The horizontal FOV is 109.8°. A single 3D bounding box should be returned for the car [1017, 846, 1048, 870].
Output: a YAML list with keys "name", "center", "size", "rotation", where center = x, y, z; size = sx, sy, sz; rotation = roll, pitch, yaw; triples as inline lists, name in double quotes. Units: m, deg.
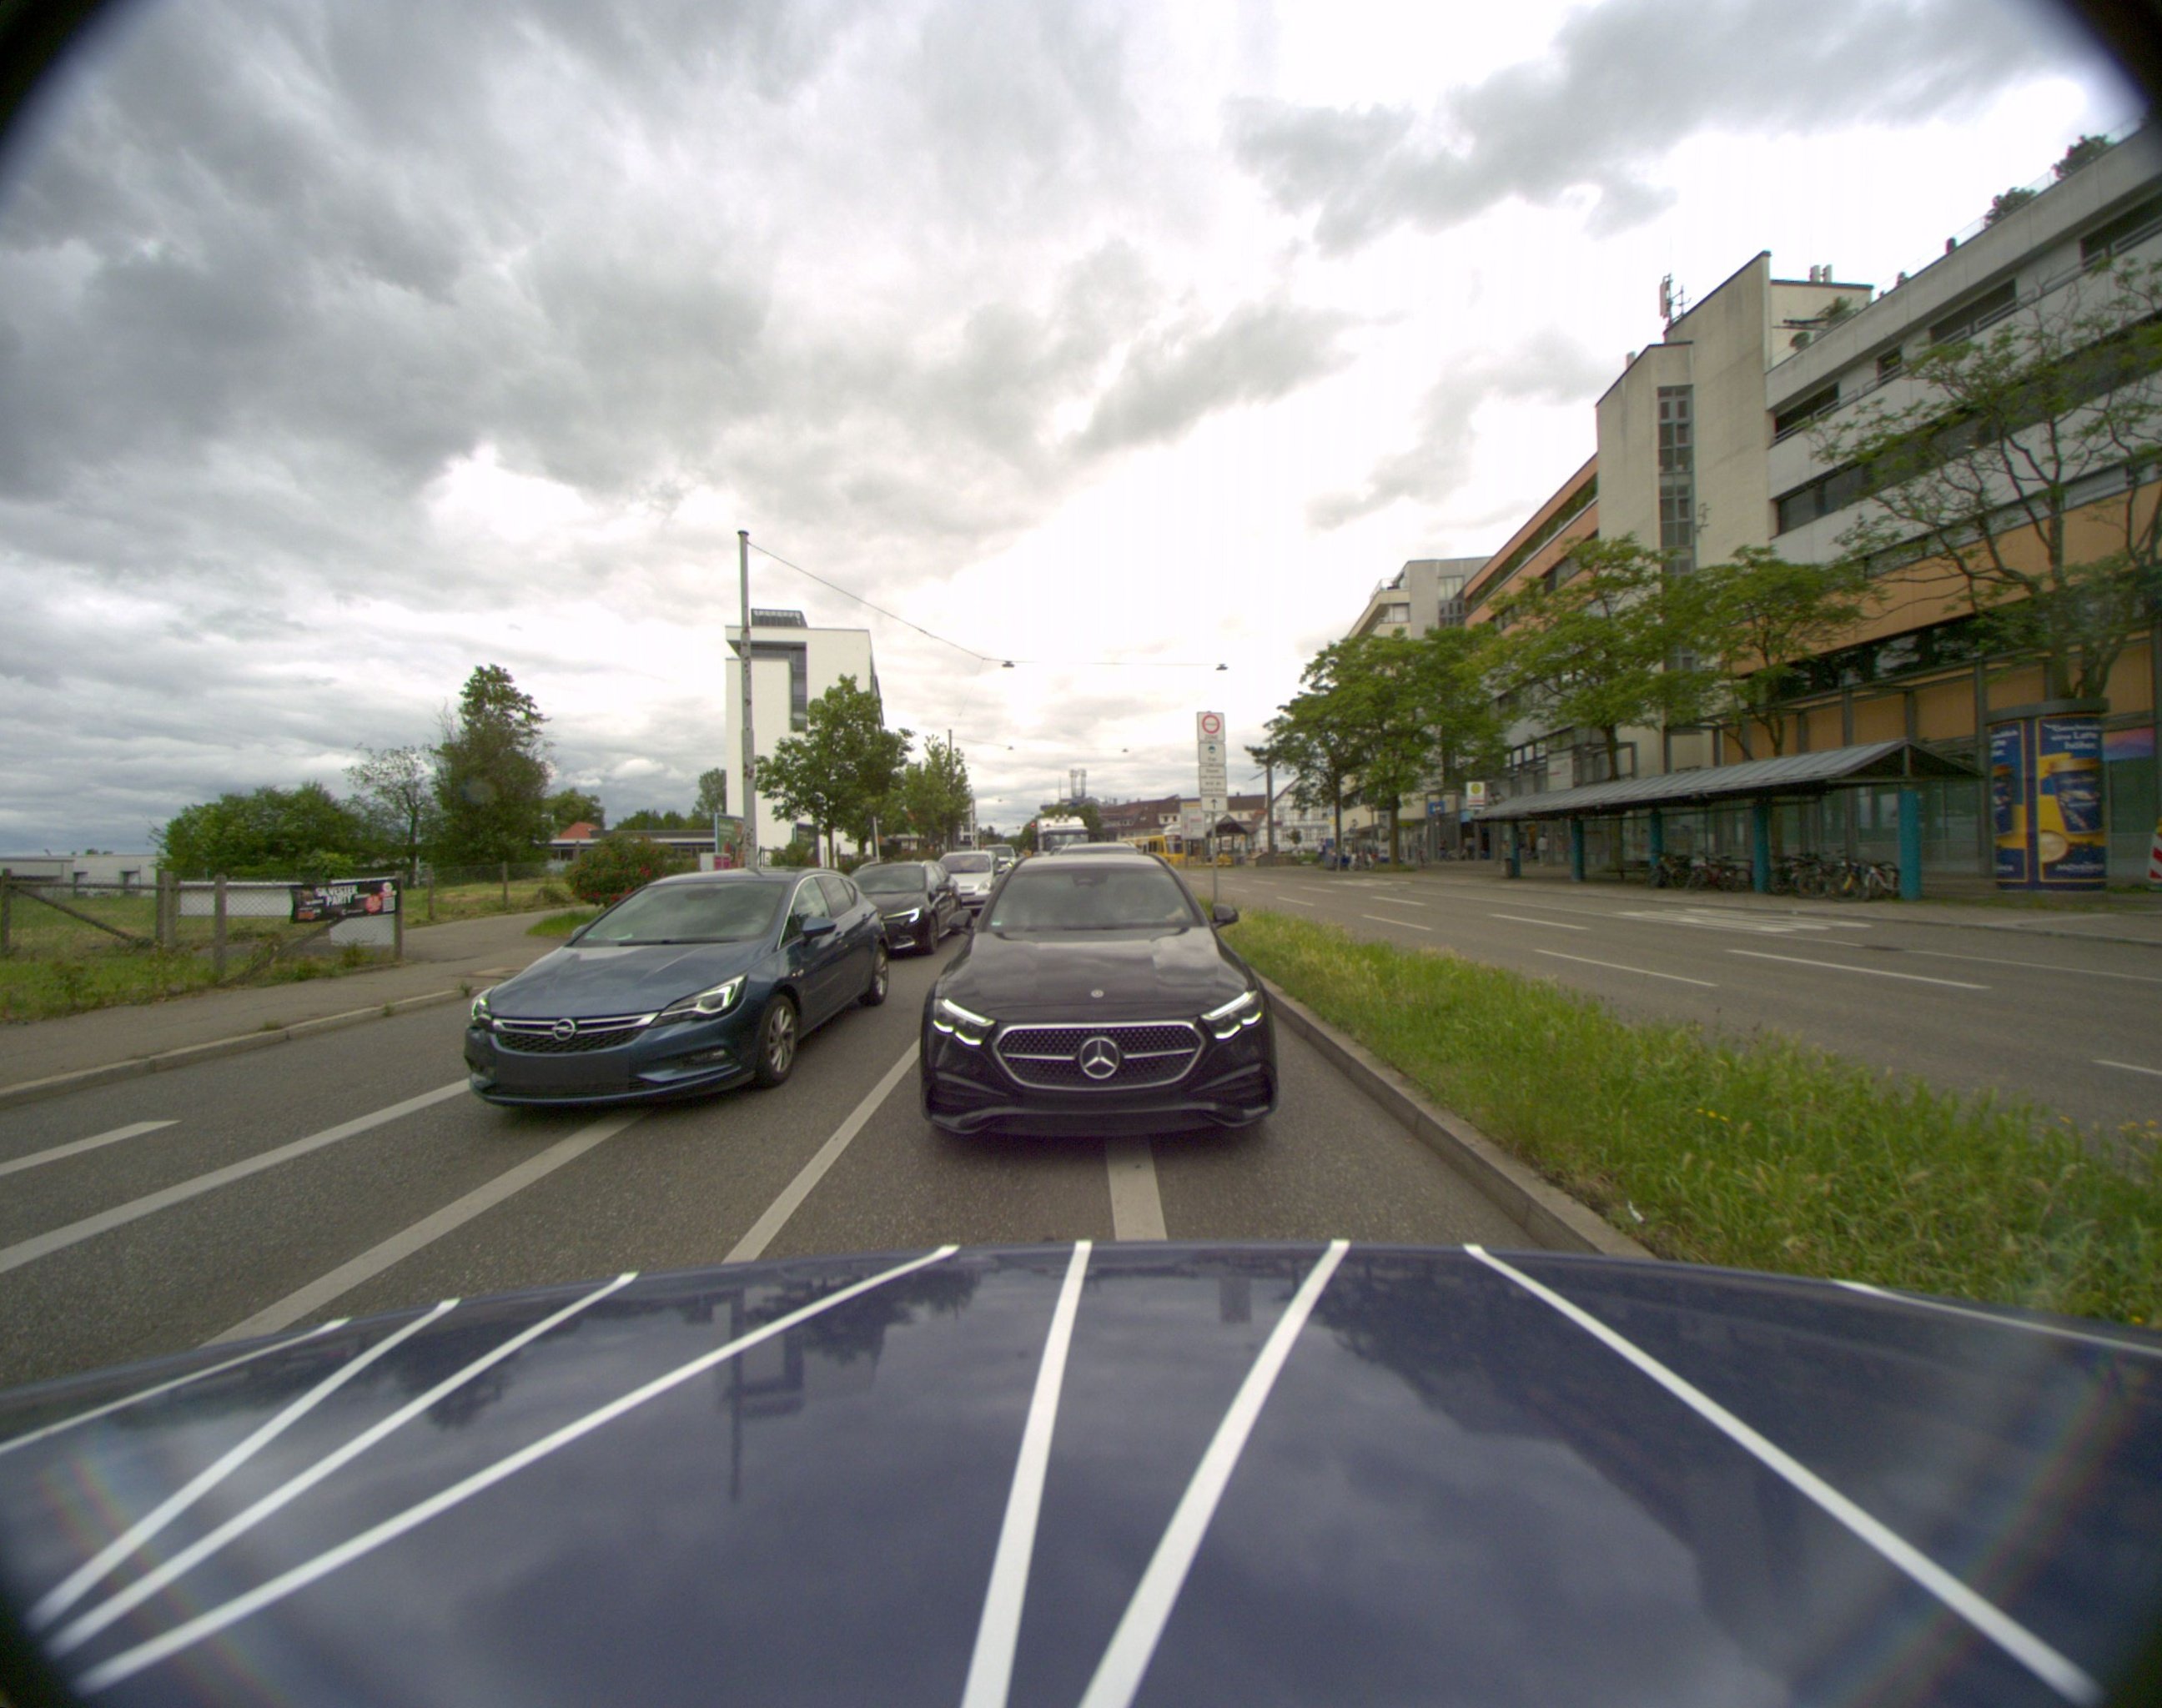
- name: "car"
  center: [-3.786, 0.250, 58.257]
  size: [2.000, 1.674, 3.997]
  rotation: [-4, 1, -8]

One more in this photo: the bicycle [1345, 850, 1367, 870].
- name: "bicycle"
  center: [15.452, 0.321, 42.640]
  size: [0.593, 1.071, 2.041]
  rotation: [0, 2, 38]

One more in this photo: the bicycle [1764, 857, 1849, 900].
- name: "bicycle"
  center: [19.015, 0.637, 19.938]
  size: [1.735, 1.035, 0.549]
  rotation: [-2, 1, -2]

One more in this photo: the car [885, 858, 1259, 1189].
- name: "car"
  center: [-0.052, 0.837, 5.807]
  size: [1.793, 1.507, 4.249]
  rotation: [-1, 1, -1]

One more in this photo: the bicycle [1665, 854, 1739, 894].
- name: "bicycle"
  center: [18.272, 0.584, 22.371]
  size: [1.735, 1.035, 0.549]
  rotation: [-4, 1, -2]

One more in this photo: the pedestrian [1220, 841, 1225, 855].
- name: "pedestrian"
  center: [20.261, -0.819, 108.908]
  size: [0.742, 2.002, 0.938]
  rotation: [-1, 1, 11]

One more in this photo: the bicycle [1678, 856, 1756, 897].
- name: "bicycle"
  center: [17.937, 0.638, 21.439]
  size: [1.735, 1.035, 0.549]
  rotation: [-3, 1, -2]

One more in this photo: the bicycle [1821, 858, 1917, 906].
- name: "bicycle"
  center: [18.676, 0.662, 18.027]
  size: [1.735, 1.035, 0.549]
  rotation: [-2, 1, -2]

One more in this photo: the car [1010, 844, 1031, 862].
- name: "car"
  center: [-6.555, -0.122, 81.866]
  size: [2.000, 1.674, 3.997]
  rotation: [-4, 1, -8]

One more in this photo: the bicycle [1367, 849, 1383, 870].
- name: "bicycle"
  center: [16.375, 0.293, 42.269]
  size: [0.593, 1.071, 2.040]
  rotation: [0, 2, 29]

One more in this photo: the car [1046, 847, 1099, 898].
- name: "car"
  center: [-0.382, 0.631, 28.961]
  size: [1.865, 1.773, 3.998]
  rotation: [-1, 1, -2]

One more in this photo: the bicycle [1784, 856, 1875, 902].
- name: "bicycle"
  center: [18.617, 0.622, 18.913]
  size: [1.735, 1.035, 0.549]
  rotation: [-3, 1, -2]

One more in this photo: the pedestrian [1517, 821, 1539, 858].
- name: "pedestrian"
  center: [25.024, -0.805, 42.564]
  size: [0.710, 2.002, 0.794]
  rotation: [-2, 2, 0]

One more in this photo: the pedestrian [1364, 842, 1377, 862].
- name: "pedestrian"
  center: [24.493, -0.164, 64.311]
  size: [0.765, 1.673, 0.752]
  rotation: [-1, 1, 1]

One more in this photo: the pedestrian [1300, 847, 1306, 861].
- name: "pedestrian"
  center: [23.736, -0.019, 81.208]
  size: [0.555, 1.486, 0.454]
  rotation: [0, 1, 8]

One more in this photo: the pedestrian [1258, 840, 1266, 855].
- name: "pedestrian"
  center: [23.836, -0.885, 99.966]
  size: [0.879, 2.002, 1.010]
  rotation: [0, 1, 6]

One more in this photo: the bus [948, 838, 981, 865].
- name: "bus"
  center: [-12.874, -0.328, 83.320]
  size: [2.969, 2.616, 12.136]
  rotation: [-2, 1, -11]

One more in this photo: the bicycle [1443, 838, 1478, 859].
- name: "bicycle"
  center: [26.959, -0.382, 54.025]
  size: [2.139, 1.367, 0.620]
  rotation: [-2, 2, 18]

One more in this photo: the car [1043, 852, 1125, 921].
- name: "car"
  center: [0.035, 0.748, 19.525]
  size: [1.865, 1.520, 3.999]
  rotation: [-1, 1, -1]

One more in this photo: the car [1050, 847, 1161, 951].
- name: "car"
  center: [0.387, 0.704, 14.098]
  size: [1.734, 1.601, 3.999]
  rotation: [-1, 1, 0]

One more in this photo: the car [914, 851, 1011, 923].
- name: "car"
  center: [-2.977, 0.773, 19.902]
  size: [1.851, 1.607, 3.782]
  rotation: [-3, 1, 0]

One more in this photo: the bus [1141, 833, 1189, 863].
- name: "bus"
  center: [8.645, -0.651, 79.622]
  size: [2.556, 2.966, 8.497]
  rotation: [-1, 1, -11]

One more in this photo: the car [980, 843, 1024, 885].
- name: "car"
  center: [-3.880, 0.442, 38.054]
  size: [1.852, 1.875, 4.135]
  rotation: [-3, 1, -2]

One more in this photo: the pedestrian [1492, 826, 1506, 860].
- name: "pedestrian"
  center: [25.181, -0.656, 45.748]
  size: [0.566, 2.002, 0.611]
  rotation: [-1, 1, 6]

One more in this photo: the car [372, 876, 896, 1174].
- name: "car"
  center: [-2.914, 0.995, 6.143]
  size: [1.826, 1.402, 3.999]
  rotation: [-2, 1, 0]

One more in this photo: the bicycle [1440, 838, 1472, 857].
- name: "bicycle"
  center: [27.720, -0.456, 56.177]
  size: [2.138, 1.359, 0.620]
  rotation: [-1, 2, 26]

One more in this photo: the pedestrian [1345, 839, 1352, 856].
- name: "pedestrian"
  center: [19.556, -0.478, 55.515]
  size: [0.341, 1.172, 0.369]
  rotation: [-1, 1, -9]

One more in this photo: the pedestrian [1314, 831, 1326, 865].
- name: "pedestrian"
  center: [16.718, -0.419, 53.161]
  size: [0.590, 2.294, 0.608]
  rotation: [-1, 1, -2]

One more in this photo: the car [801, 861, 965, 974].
- name: "car"
  center: [-3.079, 0.911, 12.635]
  size: [1.665, 1.448, 3.921]
  rotation: [-2, 1, 0]

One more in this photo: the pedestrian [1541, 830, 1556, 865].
- name: "pedestrian"
  center: [24.075, -0.339, 39.113]
  size: [0.648, 1.799, 0.761]
  rotation: [0, 1, 34]

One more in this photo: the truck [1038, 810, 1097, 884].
- name: "truck"
  center: [-0.789, -0.357, 37.329]
  size: [2.490, 3.258, 7.427]
  rotation: [-1, 1, -4]

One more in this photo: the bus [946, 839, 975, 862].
- name: "bus"
  center: [-15.289, -0.480, 95.639]
  size: [2.969, 2.616, 12.910]
  rotation: [-2, 1, -11]

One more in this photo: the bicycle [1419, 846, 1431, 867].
- name: "bicycle"
  center: [19.459, 0.138, 43.009]
  size: [0.593, 1.119, 2.040]
  rotation: [0, 2, 24]

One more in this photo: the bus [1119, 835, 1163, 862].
- name: "bus"
  center: [6.876, -0.636, 88.558]
  size: [2.556, 2.966, 9.789]
  rotation: [-1, 1, -11]

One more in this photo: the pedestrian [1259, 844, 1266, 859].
- name: "pedestrian"
  center: [19.250, -0.283, 80.660]
  size: [0.577, 1.533, 0.582]
  rotation: [-1, 1, -8]

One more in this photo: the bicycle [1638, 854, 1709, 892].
- name: "bicycle"
  center: [18.192, 0.581, 23.331]
  size: [1.735, 1.035, 0.549]
  rotation: [-3, 1, -2]

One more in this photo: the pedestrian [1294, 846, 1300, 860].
- name: "pedestrian"
  center: [23.105, -0.158, 81.384]
  size: [0.555, 1.486, 0.454]
  rotation: [0, 1, 8]
